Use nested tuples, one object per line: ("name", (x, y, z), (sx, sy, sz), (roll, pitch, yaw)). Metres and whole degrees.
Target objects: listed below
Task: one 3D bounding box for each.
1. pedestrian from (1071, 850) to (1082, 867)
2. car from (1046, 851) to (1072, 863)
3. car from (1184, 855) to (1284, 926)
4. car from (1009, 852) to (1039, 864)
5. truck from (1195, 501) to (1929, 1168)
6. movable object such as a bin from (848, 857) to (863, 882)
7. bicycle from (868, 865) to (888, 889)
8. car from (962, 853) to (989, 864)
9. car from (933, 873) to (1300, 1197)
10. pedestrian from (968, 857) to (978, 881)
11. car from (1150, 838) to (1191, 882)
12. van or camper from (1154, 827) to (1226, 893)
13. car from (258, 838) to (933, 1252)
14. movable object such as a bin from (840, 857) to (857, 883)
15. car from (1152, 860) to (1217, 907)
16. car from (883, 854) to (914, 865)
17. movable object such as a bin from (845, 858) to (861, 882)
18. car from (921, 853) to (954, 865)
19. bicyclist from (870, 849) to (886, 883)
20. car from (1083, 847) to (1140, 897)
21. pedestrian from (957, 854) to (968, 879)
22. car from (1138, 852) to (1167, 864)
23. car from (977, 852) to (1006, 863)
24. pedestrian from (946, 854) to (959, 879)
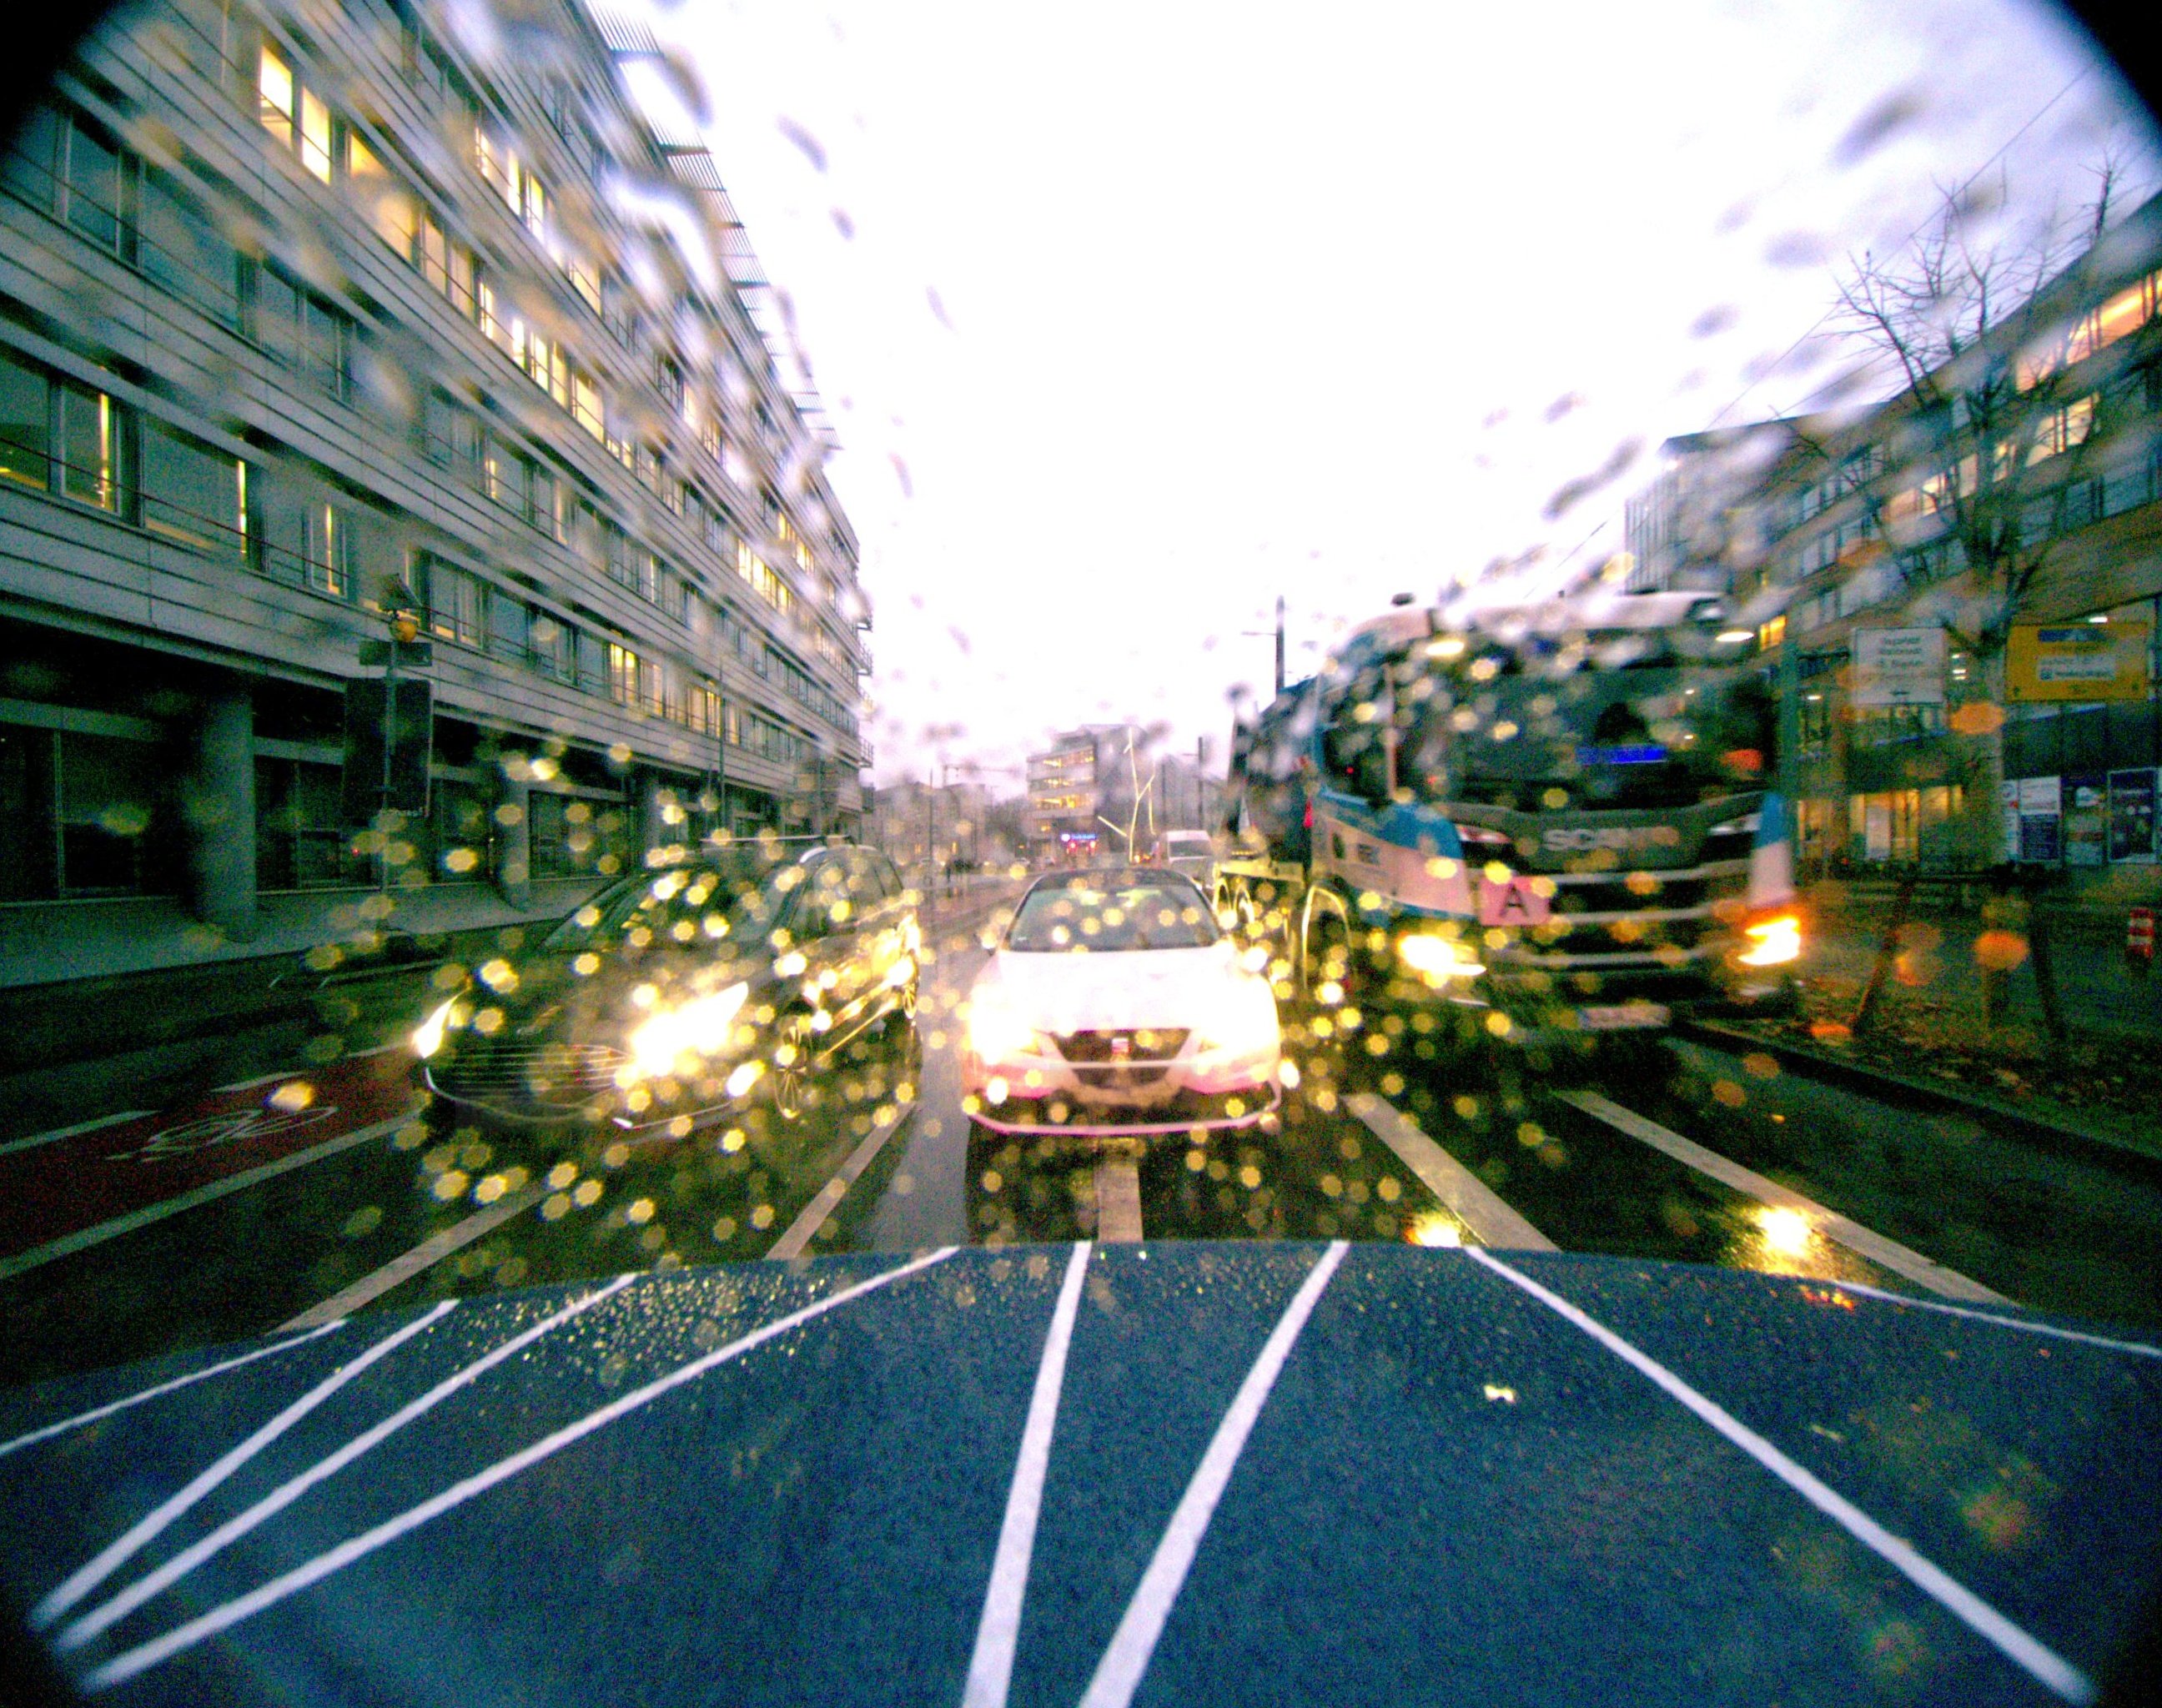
("pedestrian", (-0.546, 0.551, 90.028), (1.118, 2.002, 1.034), (0, 1, 15))
("car", (-3.609, 0.463, 123.204), (3.724, 1.796, 1.797), (-1, 0, 21))
("car", (3.562, 0.790, 18.377), (1.634, 1.514, 3.941), (0, 0, 0))
("car", (-8.159, 0.539, 109.504), (3.918, 1.699, 1.782), (-1, 1, 15))
("truck", (3.204, -0.117, 7.917), (2.846, 3.612, 7.526), (-1, 0, 0))
("movable object such as a bin", (-13.432, 0.929, 45.223), (0.666, 1.468, 0.840), (-1, 1, -2))
("bicycle", (-10.826, 1.221, 40.493), (0.681, 1.191, 1.760), (-1, 0, -3))
("car", (-17.662, 0.700, 127.294), (3.991, 1.759, 1.815), (-1, 0, 20))
("car", (0.199, 0.944, 5.701), (1.782, 1.464, 3.943), (-1, 0, 1))
("pedestrian", (-7.400, 1.027, 52.094), (0.616, 1.659, 0.884), (1, 1, -3))
("car", (6.136, 0.378, 52.705), (2.129, 2.847, 5.813), (-1, 0, 0))
("van or camper", (4.506, 0.223, 32.268), (2.153, 2.517, 5.898), (-1, 0, 0))
("car", (-2.624, 0.854, 5.719), (1.887, 1.800, 4.671), (-2, 0, 2))
("movable object such as a bin", (-13.272, 0.911, 43.396), (0.666, 1.420, 0.840), (-1, 1, -2))
("car", (3.288, 0.893, 24.789), (1.759, 1.337, 4.057), (-1, 0, 3))
("car", (-27.865, 0.834, 116.083), (3.996, 1.663, 2.002), (-1, 1, 17))
("movable object such as a bin", (-13.268, 0.925, 44.293), (0.666, 1.420, 0.840), (-1, 1, -2))
("car", (-21.426, 0.736, 113.724), (4.368, 1.750, 2.002), (-1, 1, 17))
("bicyclist", (-10.830, 0.653, 40.536), (0.671, 1.788, 0.806), (0, 1, -3))
("car", (1.164, 0.678, 30.937), (2.169, 1.744, 4.540), (0, 2, 0))
("pedestrian", (-8.106, 0.868, 52.034), (0.651, 1.692, 0.884), (1, 1, -3))
("car", (11.009, 0.598, 116.936), (3.992, 1.782, 1.884), (-1, 1, 16))
("car", (-13.045, 0.566, 110.696), (3.759, 1.528, 1.782), (0, 0, 17))
("pedestrian", (-8.918, 0.853, 52.757), (0.747, 1.692, 0.969), (2, 1, -3))
